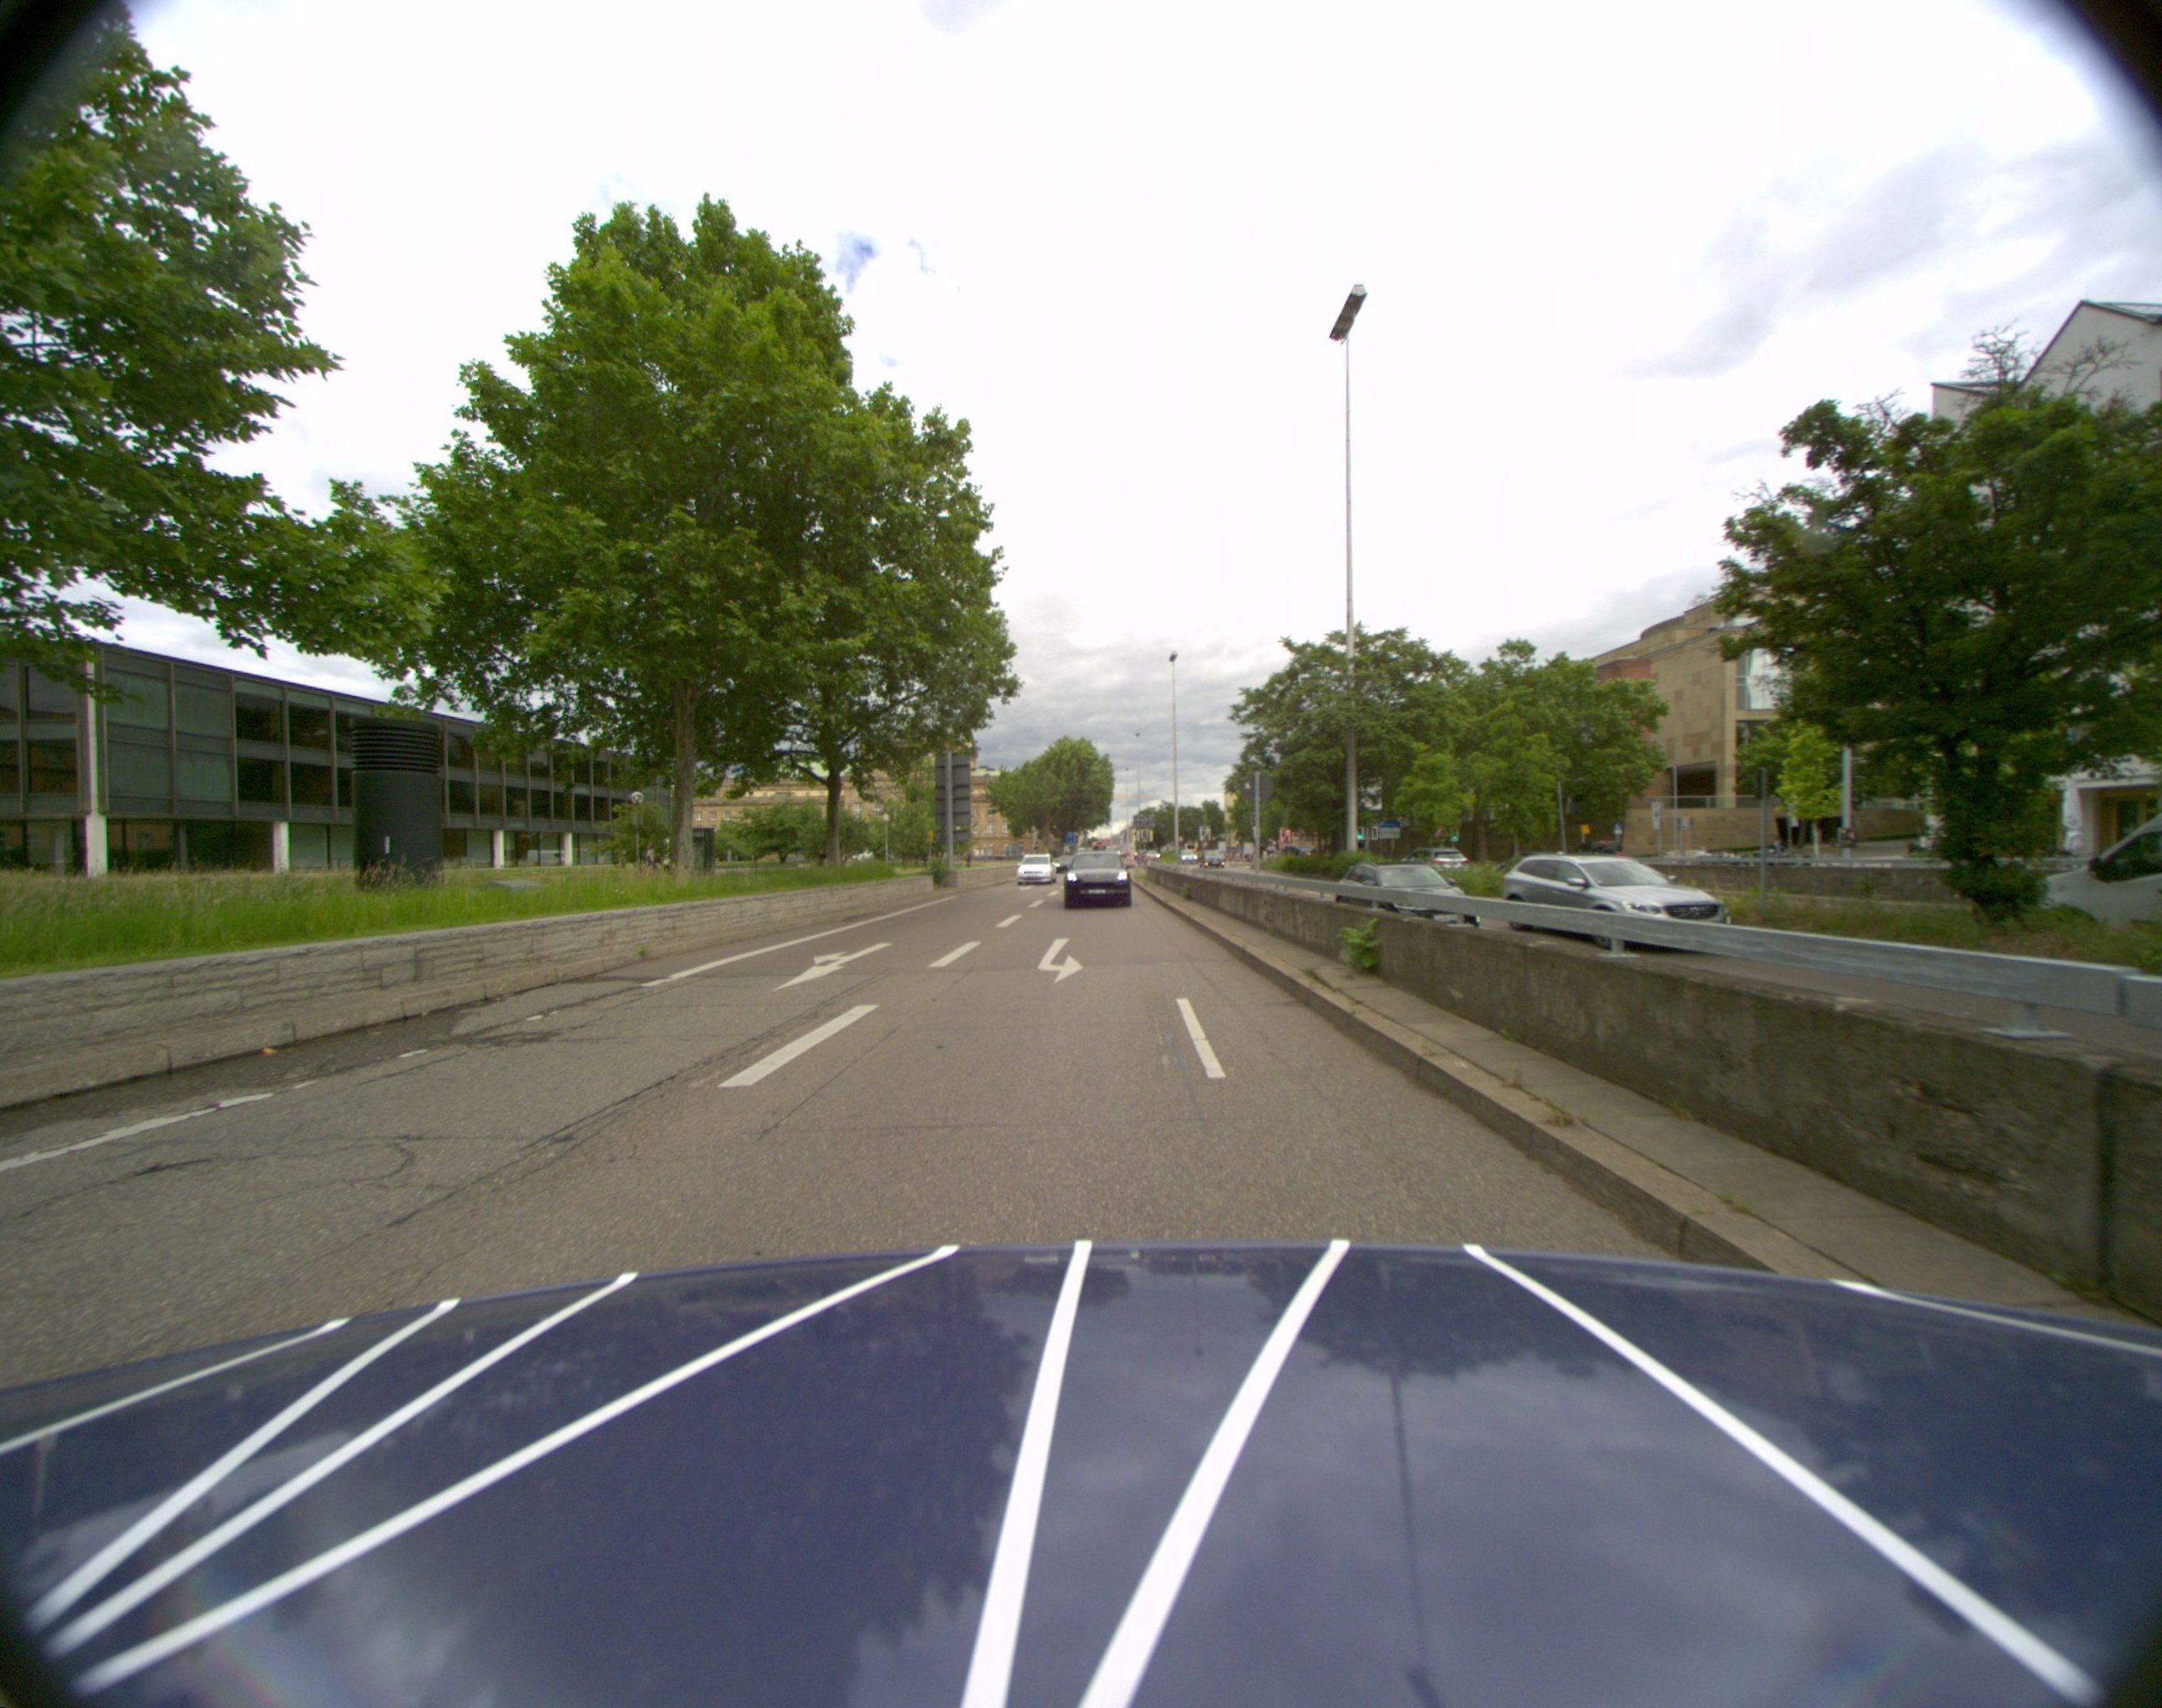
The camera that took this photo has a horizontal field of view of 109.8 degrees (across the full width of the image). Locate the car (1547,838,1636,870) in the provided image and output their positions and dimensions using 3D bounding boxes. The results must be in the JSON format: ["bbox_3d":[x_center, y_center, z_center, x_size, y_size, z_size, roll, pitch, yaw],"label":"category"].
[{"bbox_3d":[28.822,-0.030,43.074,1.862,1.707,4.389,0,0,-5],"label":"car"}]

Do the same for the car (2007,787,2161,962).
[{"bbox_3d":[16.904,0.305,9.848,2.331,2.511,6.054,-3,2,-2],"label":"car"}]

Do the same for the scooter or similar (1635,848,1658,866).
[{"bbox_3d":[43.498,0.247,58.456,1.418,1.333,0.538,-1,1,1],"label":"scooter or similar"}]

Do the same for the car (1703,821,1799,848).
[{"bbox_3d":[38.755,-1.116,44.013,3.997,1.269,1.751,-4,1,1],"label":"car"}]

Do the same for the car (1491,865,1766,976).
[{"bbox_3d":[10.218,1.124,14.774,1.998,1.607,4.737,-1,1,1],"label":"car"}]

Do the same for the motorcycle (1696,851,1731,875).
[{"bbox_3d":[34.387,0.494,41.294,1.892,1.227,0.657,-1,3,-24],"label":"motorcycle"}]

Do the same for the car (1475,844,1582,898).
[{"bbox_3d":[18.870,0.655,32.281,1.999,2.002,3.998,-3,1,-2],"label":"car"}]

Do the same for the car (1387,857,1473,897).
[{"bbox_3d":[16.211,1.012,35.563,1.862,1.707,4.444,0,0,-2],"label":"car"}]

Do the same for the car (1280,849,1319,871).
[{"bbox_3d":[17.241,0.447,60.071,1.861,1.707,4.445,0,0,1],"label":"car"}]

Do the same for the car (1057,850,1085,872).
[{"bbox_3d":[-0.879,0.520,62.232,2.062,1.616,4.600,-3,0,-2],"label":"car"}]

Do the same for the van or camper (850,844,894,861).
[{"bbox_3d":[-30.669,-0.252,111.468,5.711,2.307,2.320,-2,2,1],"label":"van or camper"}]

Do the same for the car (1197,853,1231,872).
[{"bbox_3d":[11.063,0.698,63.543,1.998,1.474,4.809,-1,0,0],"label":"car"}]

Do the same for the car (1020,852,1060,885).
[{"bbox_3d":[-2.197,0.733,41.407,1.695,1.585,4.000,-2,1,3],"label":"car"}]

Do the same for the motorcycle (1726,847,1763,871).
[{"bbox_3d":[34.632,0.244,39.642,1.892,1.227,0.657,-1,3,-24],"label":"motorcycle"}]

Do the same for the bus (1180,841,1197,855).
[{"bbox_3d":[27.886,-1.582,197.243,2.919,3.286,10.448,-1,1,0],"label":"bus"}]

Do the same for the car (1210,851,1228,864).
[{"bbox_3d":[19.873,0.454,109.516,1.760,1.647,3.999,-3,1,0],"label":"car"}]

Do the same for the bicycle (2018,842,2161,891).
[{"bbox_3d":[35.387,0.425,26.626,3.622,1.674,1.183,0,0,0],"label":"bicycle"}]

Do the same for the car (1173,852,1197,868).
[{"bbox_3d":[10.946,0.591,79.952,1.998,1.636,4.000,-2,0,1],"label":"car"}]

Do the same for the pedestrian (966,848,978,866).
[{"bbox_3d":[-9.474,0.253,65.991,0.803,1.617,0.626,0,1,9],"label":"pedestrian"}]

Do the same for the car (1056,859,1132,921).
[{"bbox_3d":[0.298,1.024,23.723,2.062,1.616,4.600,-2,1,-2],"label":"car"}]

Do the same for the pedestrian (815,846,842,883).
[{"bbox_3d":[-12.262,0.504,36.926,0.898,1.722,0.969,-3,1,2],"label":"pedestrian"}]

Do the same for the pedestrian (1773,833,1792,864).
[{"bbox_3d":[35.790,-0.291,38.771,0.884,1.548,0.596,-2,1,-41],"label":"pedestrian"}]

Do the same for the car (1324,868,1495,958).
[{"bbox_3d":[6.993,1.174,16.675,1.768,1.507,4.150,-2,1,-3],"label":"car"}]

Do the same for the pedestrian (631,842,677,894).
[{"bbox_3d":[-15.908,0.517,28.314,0.997,1.826,1.031,-2,2,36],"label":"pedestrian"}]

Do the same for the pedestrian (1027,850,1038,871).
[{"bbox_3d":[-3.950,0.514,61.977,0.699,1.646,0.684,-3,2,1],"label":"pedestrian"}]
